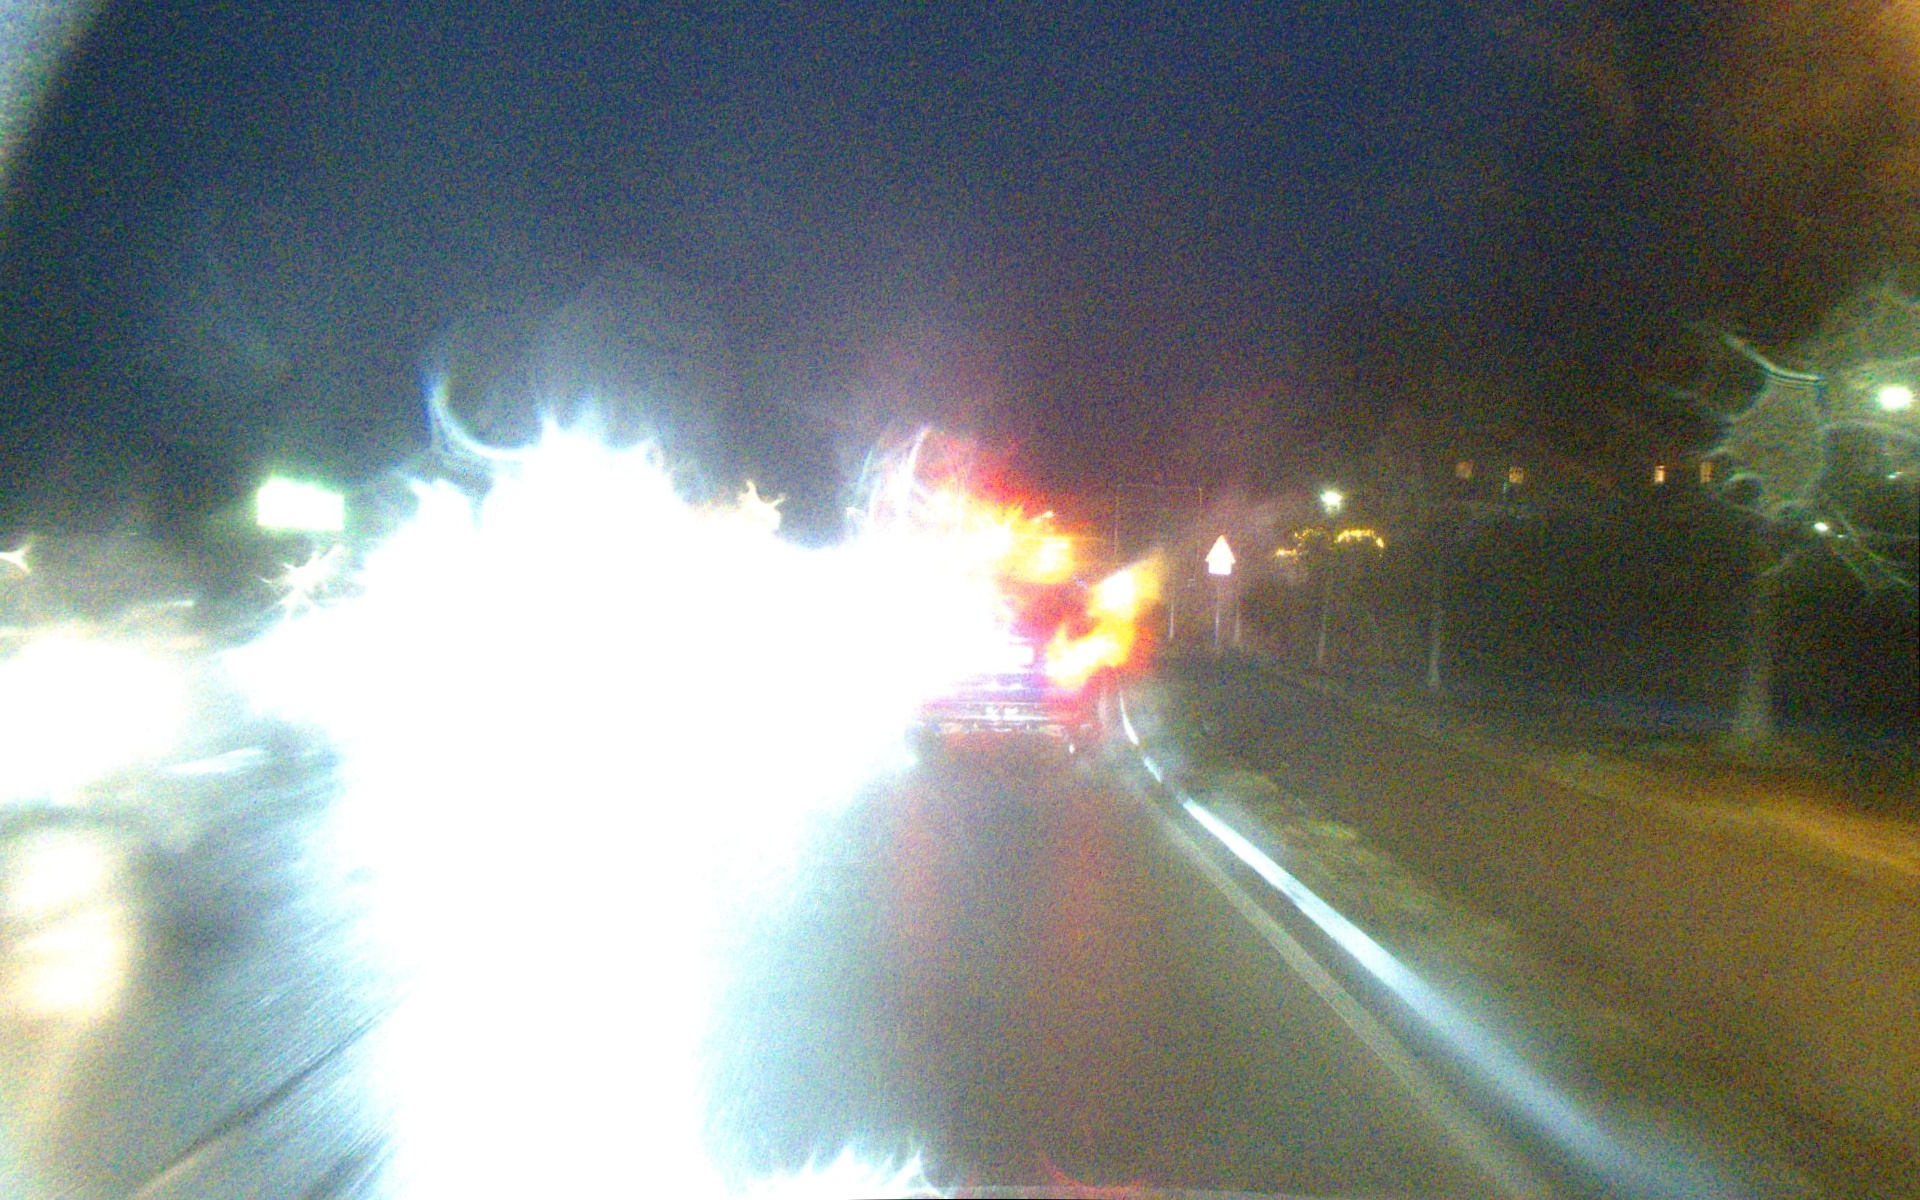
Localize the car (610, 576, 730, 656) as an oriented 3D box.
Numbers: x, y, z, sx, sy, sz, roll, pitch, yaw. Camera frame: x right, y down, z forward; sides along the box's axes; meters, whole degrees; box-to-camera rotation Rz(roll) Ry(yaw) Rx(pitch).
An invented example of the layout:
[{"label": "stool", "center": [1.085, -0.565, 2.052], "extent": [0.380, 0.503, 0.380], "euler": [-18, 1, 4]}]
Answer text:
[{"label": "car", "center": [-6.072, 0.304, 35.056], "extent": [1.840, 1.564, 3.987], "euler": [1, 0, -1]}]

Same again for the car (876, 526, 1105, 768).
[{"label": "car", "center": [0.335, 0.381, 16.129], "extent": [1.902, 2.006, 4.219], "euler": [1, 0, 2]}]

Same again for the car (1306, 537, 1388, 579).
[{"label": "car", "center": [15.980, -1.696, 68.461], "extent": [1.608, 1.646, 4.119], "euler": [1, 0, -14]}]

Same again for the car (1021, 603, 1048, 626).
[{"label": "car", "center": [5.014, 0.971, 111.007], "extent": [1.628, 1.475, 4.052], "euler": [1, -1, 5]}]

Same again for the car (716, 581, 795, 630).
[{"label": "car", "center": [-6.684, 0.150, 54.565], "extent": [2.035, 1.474, 4.991], "euler": [1, 0, -1]}]

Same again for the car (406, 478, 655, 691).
[{"label": "car", "center": [-6.232, -0.221, 24.905], "extent": [2.079, 2.755, 6.240], "euler": [1, 0, 0]}]

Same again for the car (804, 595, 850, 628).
[{"label": "car", "center": [-6.347, 0.522, 79.285], "extent": [1.879, 1.469, 4.544], "euler": [1, 0, -1]}]

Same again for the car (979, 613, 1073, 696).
[{"label": "car", "center": [1.372, 1.042, 33.284], "extent": [1.731, 1.475, 4.220], "euler": [1, 0, 3]}]

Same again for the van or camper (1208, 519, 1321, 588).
[{"label": "van or camper", "center": [13.754, -2.040, 75.217], "extent": [2.538, 2.959, 6.331], "euler": [0, 0, -16]}]

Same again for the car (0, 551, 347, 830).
[{"label": "car", "center": [-6.006, 0.496, 11.757], "extent": [1.685, 1.616, 4.311], "euler": [1, 0, -1]}]

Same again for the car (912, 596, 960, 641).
[{"label": "car", "center": [-0.908, 0.706, 63.795], "extent": [1.659, 1.658, 3.853], "euler": [2, 0, 1]}]
